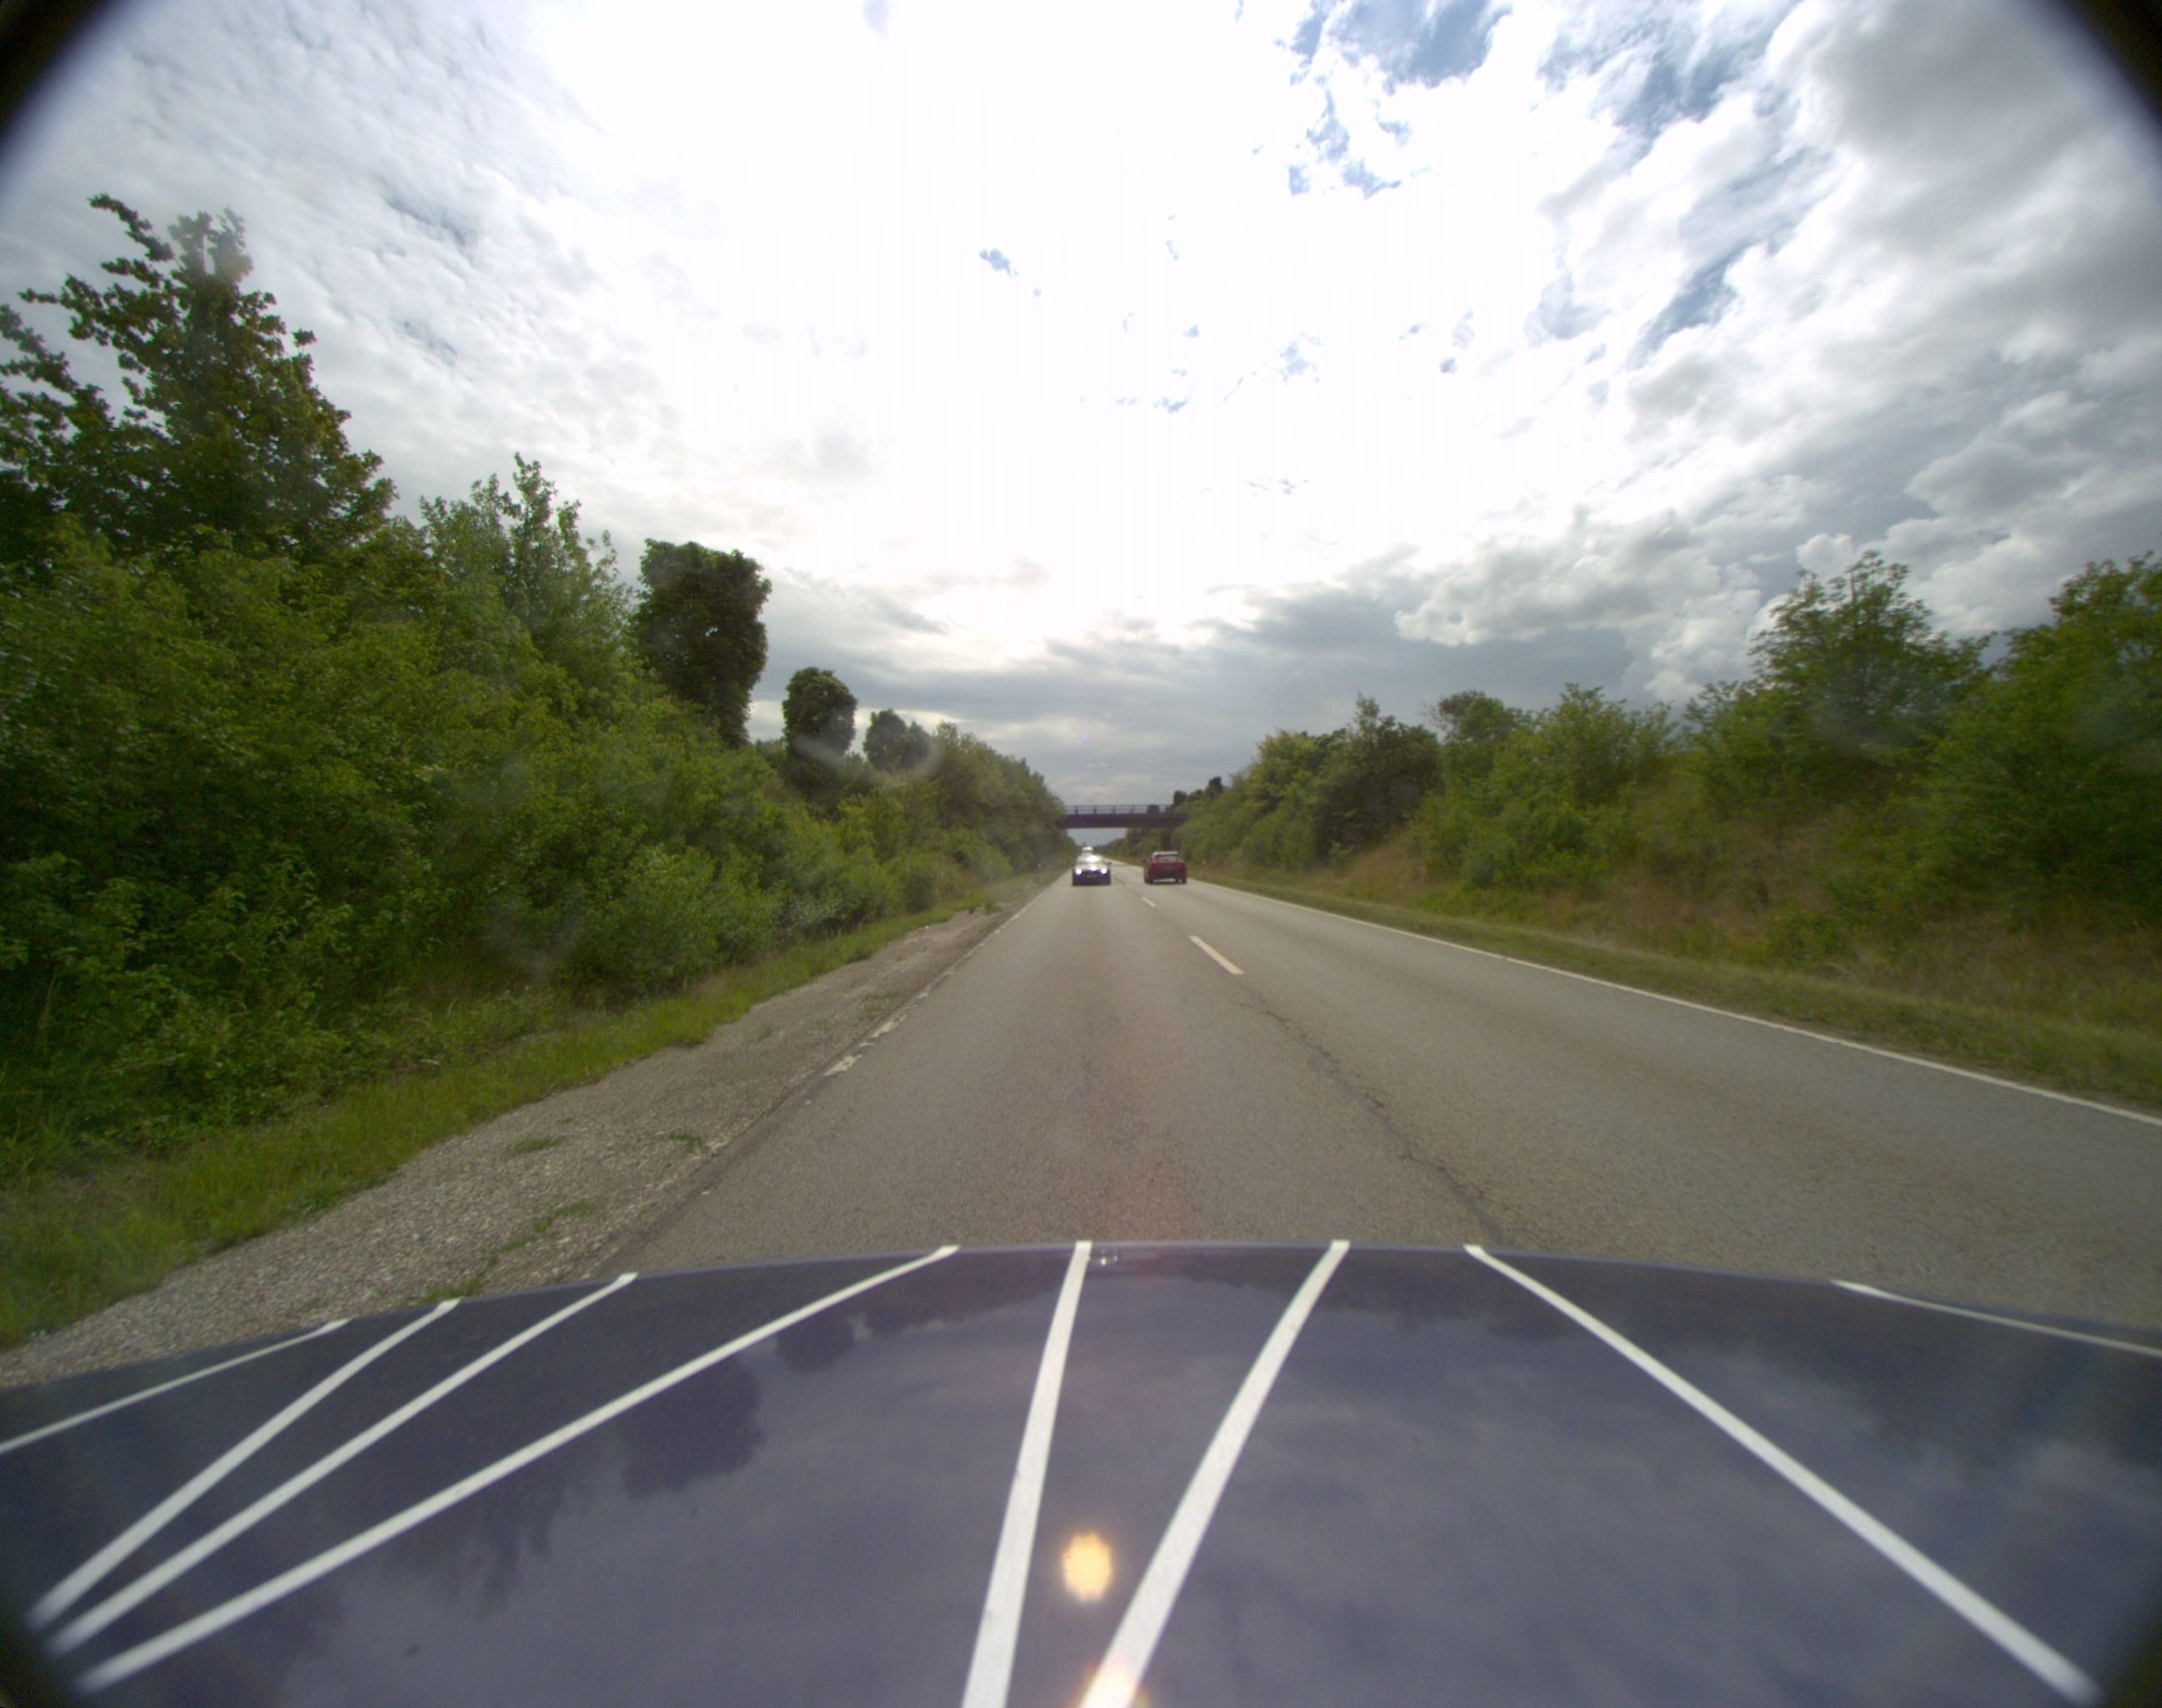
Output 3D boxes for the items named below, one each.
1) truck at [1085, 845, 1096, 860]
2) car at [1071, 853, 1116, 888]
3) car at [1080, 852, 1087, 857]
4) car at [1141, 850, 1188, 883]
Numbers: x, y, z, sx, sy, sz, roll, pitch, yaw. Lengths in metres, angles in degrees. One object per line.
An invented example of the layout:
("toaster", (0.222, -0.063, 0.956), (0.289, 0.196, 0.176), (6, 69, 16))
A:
("truck", (1.660, -0.286, 133.129), (1.802, 2.518, 6.685), (-2, 1, 1))
("car", (0.580, 0.732, 36.377), (1.998, 1.436, 4.640), (-2, 1, 1))
("car", (0.797, 0.098, 243.213), (1.893, 1.637, 3.999), (-2, 0, -1))
("car", (4.026, 0.553, 37.349), (1.833, 1.456, 4.411), (-2, 0, 1))
